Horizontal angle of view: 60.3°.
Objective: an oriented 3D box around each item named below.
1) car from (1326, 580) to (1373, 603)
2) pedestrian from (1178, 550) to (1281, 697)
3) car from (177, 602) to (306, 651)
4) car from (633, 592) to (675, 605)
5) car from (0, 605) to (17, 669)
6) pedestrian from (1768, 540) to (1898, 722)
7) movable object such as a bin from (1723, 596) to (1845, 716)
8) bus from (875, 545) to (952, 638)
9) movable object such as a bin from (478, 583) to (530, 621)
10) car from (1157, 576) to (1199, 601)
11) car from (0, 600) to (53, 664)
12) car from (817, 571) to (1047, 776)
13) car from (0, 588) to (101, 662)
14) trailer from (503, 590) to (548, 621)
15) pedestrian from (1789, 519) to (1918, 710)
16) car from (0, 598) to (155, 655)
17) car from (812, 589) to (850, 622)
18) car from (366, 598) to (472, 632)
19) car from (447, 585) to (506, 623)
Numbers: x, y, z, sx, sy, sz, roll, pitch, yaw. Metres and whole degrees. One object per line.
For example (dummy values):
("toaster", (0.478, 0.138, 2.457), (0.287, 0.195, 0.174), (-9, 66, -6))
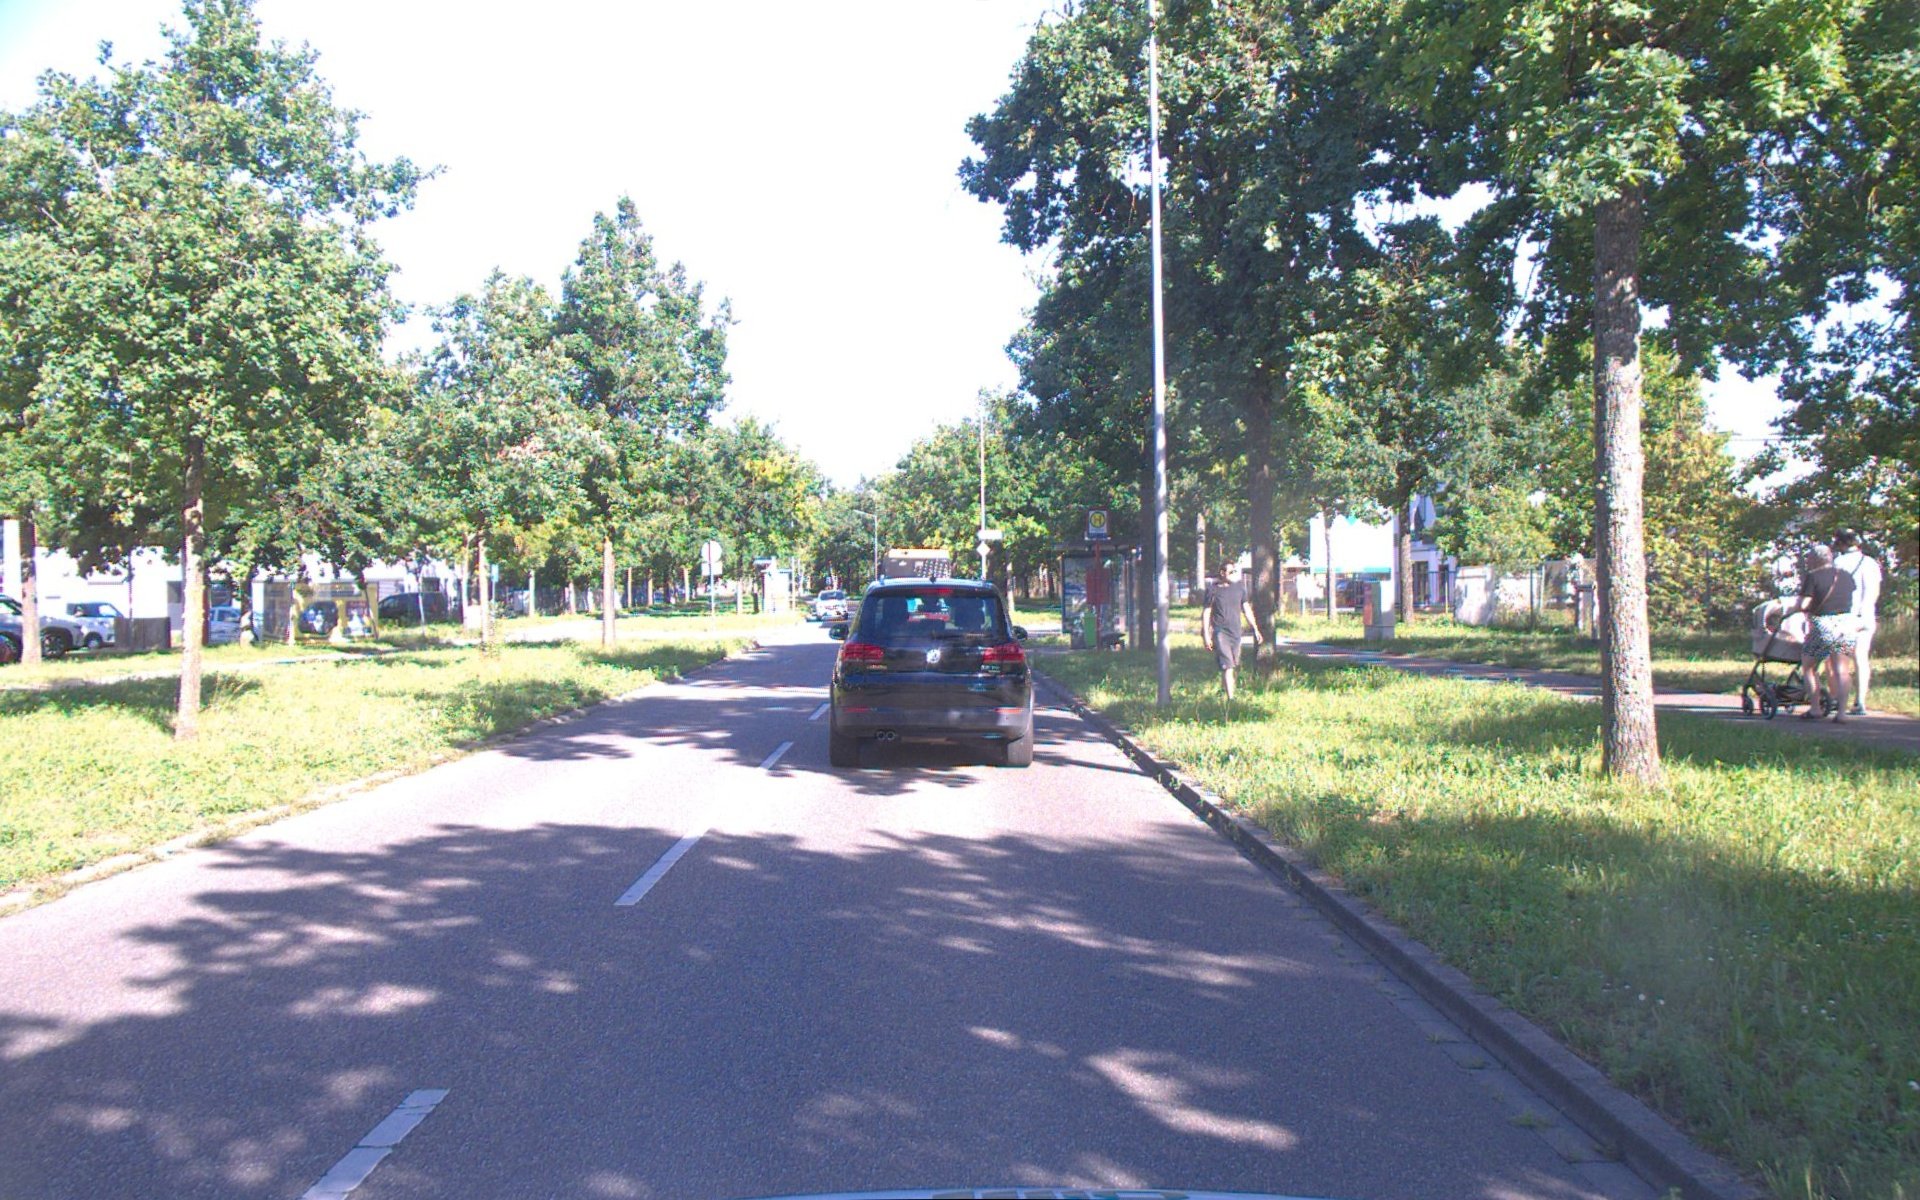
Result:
("car", (24.647, -0.552, 104.753), (1.731, 1.408, 3.763), (-1, 1, -6))
("pedestrian", (3.202, 0.266, 19.741), (0.999, 1.680, 1.099), (-1, 0, -1))
("car", (-25.455, 0.940, 58.653), (3.662, 1.646, 1.965), (-1, 0, 10))
("car", (-32.301, -0.162, 174.660), (4.112, 1.344, 1.941), (-1, 1, 0))
("car", (-24.923, 0.930, 39.260), (4.131, 1.517, 1.971), (-2, 0, -40))
("pedestrian", (8.076, 0.276, 15.331), (0.711, 1.631, 0.867), (-1, 0, -1))
("movable object such as a bin", (8.061, 0.535, 16.210), (0.711, 1.100, 0.867), (-3, 0, -1))
("bus", (-2.061, -0.379, 68.862), (2.710, 3.517, 11.202), (-1, 1, -4))
("movable object such as a bin", (-27.705, 0.088, 100.552), (2.060, 2.255, 4.458), (-1, 1, -3))
("car", (16.573, -0.879, 125.809), (2.142, 1.774, 4.636), (-1, 1, -6))
("car", (-25.718, 0.847, 42.483), (4.118, 1.589, 1.977), (-1, 0, -33))
("car", (-0.273, 0.585, 15.954), (1.897, 1.685, 4.426), (0, 1, -1))
("car", (-27.497, 0.732, 47.353), (4.819, 2.049, 1.969), (-2, 0, -43))
("trailer", (-28.275, 0.322, 107.663), (2.060, 1.948, 3.739), (-1, 1, -3))
("pedestrian", (8.756, 0.134, 16.243), (0.711, 1.785, 0.867), (-3, 0, -1))
("car", (-31.916, 0.960, 59.836), (4.903, 1.939, 1.943), (-1, 0, 15))
("car", (-6.456, 0.253, 82.438), (1.710, 1.490, 4.421), (-2, 1, -6))
("car", (-26.070, 0.701, 79.804), (4.406, 1.505, 1.942), (-1, 0, 3))
("car", (-27.537, 0.211, 94.410), (1.995, 2.023, 5.802), (-1, 0, -4))
